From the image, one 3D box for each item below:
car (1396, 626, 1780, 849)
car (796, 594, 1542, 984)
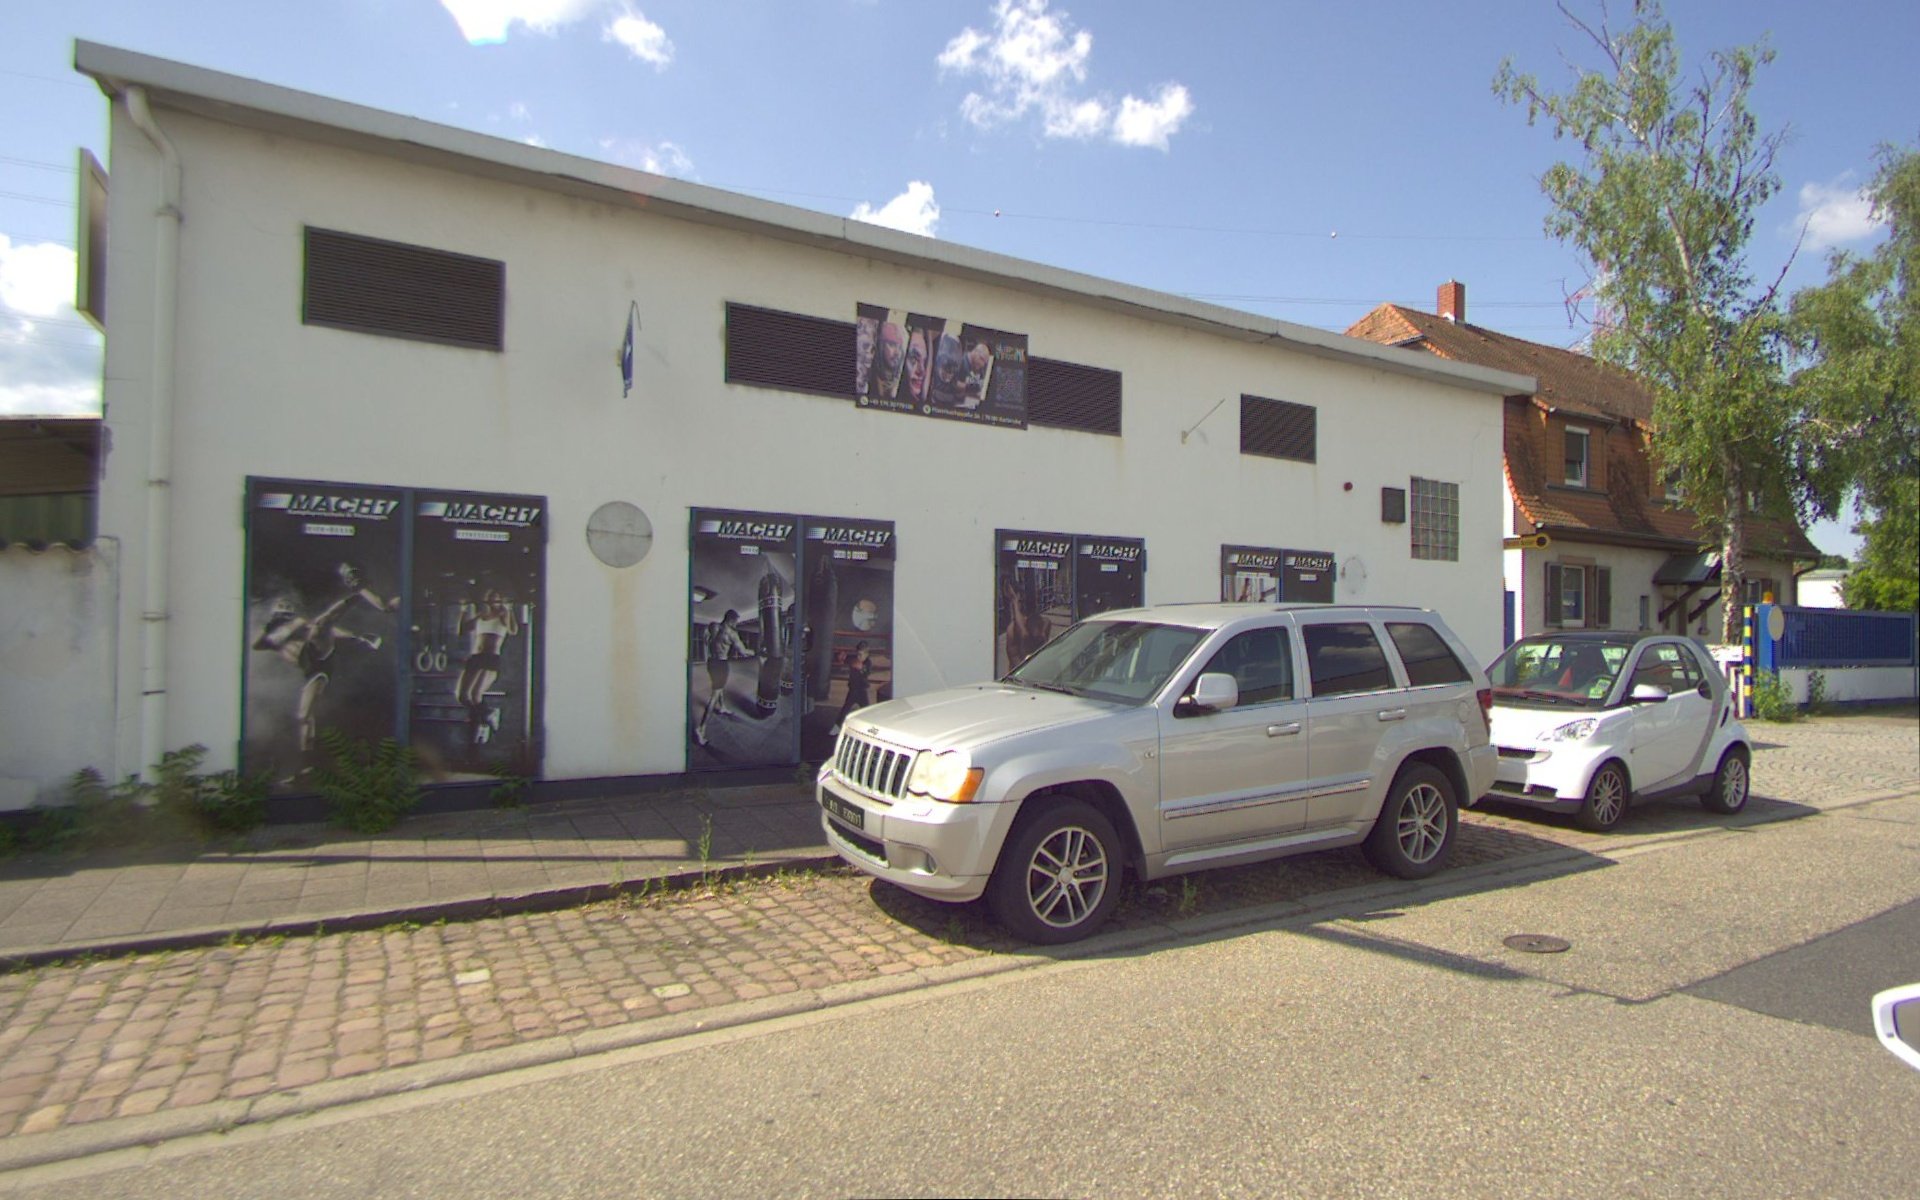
[{"bbox_3d":[5.608,1.088,8.979,2.971,1.595,1.603,1,1,-28],"label":"car"},{"bbox_3d":[1.492,0.906,6.467,4.695,1.742,1.782,2,0,-30],"label":"car"}]
